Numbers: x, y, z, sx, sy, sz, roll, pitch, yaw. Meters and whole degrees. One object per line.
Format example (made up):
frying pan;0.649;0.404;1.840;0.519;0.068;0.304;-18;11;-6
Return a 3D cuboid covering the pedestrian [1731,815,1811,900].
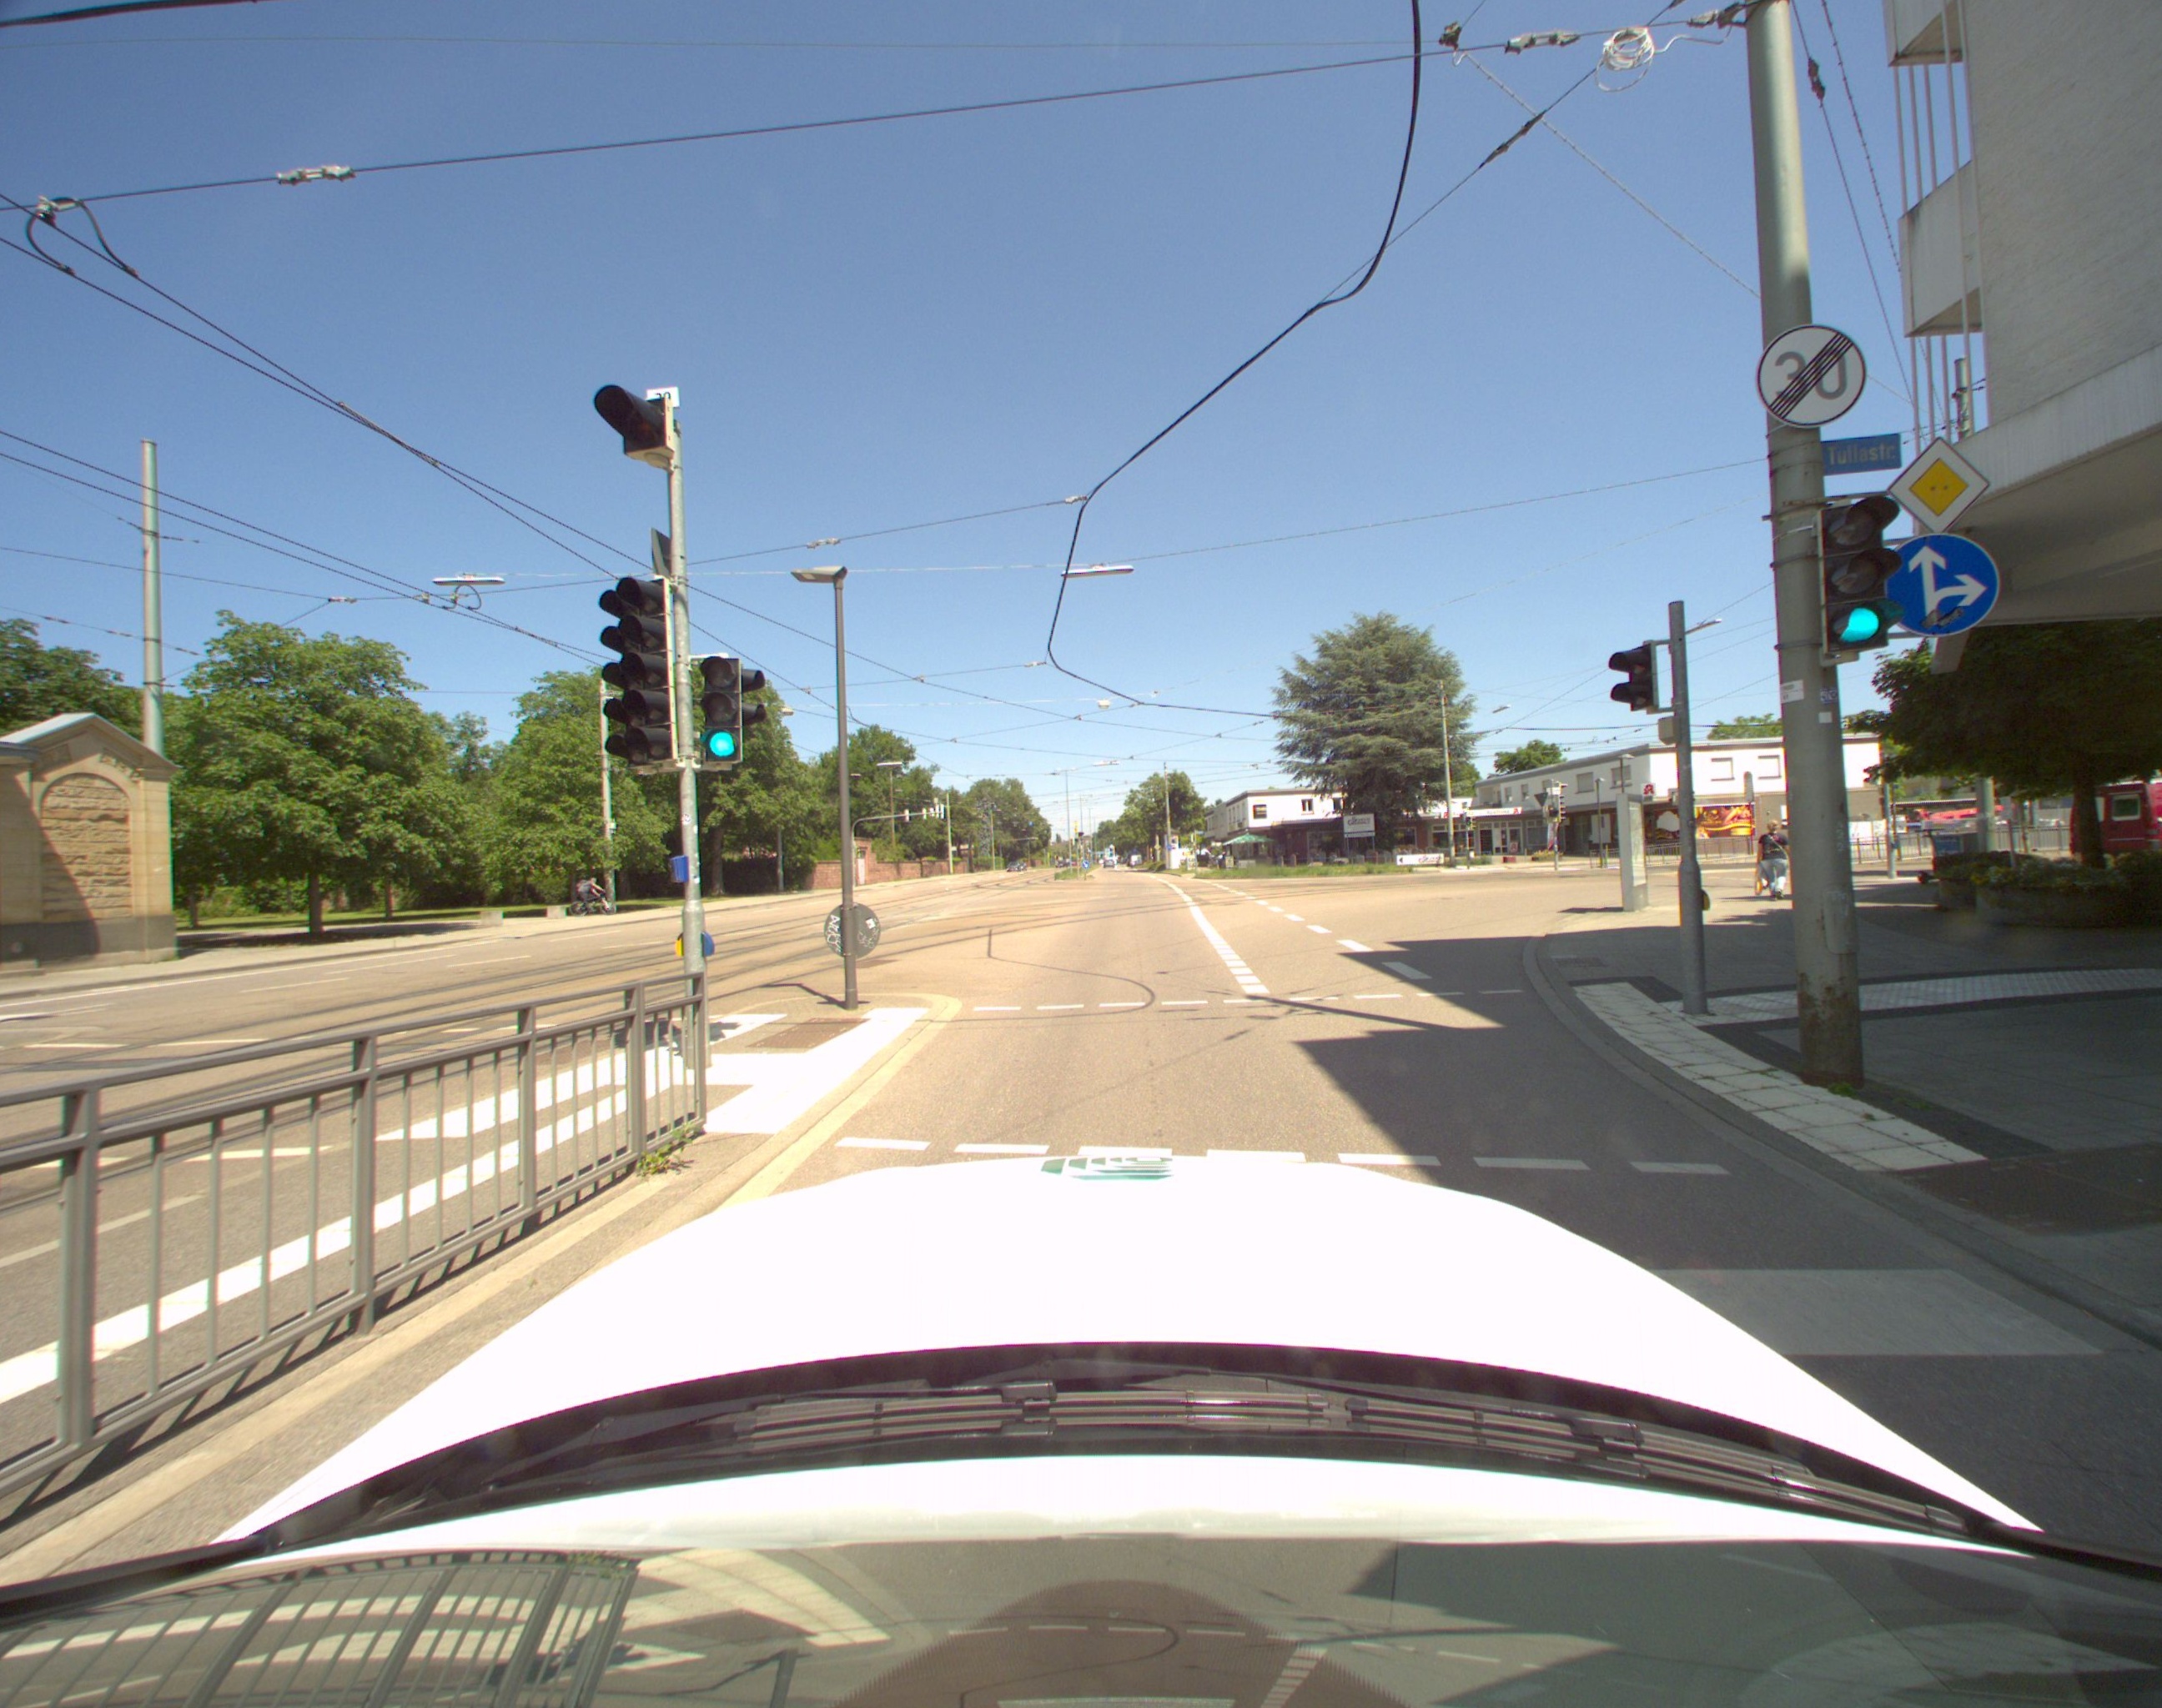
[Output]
pedestrian;13.678;0.071;16.181;0.820;1.583;0.830;-6;-1;17

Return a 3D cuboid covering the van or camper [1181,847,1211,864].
van or camper;19.679;0.290;139.323;4.740;2.671;2.136;-2;-1;0

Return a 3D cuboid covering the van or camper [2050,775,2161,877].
van or camper;31.575;-0.866;23.182;5.205;2.765;2.208;-3;0;1

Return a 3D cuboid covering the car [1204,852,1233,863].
car;18.603;0.518;110.559;3.600;1.351;1.488;-2;-1;-4

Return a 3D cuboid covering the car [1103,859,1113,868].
car;4.475;1.609;135.217;1.631;1.351;3.841;-2;0;0

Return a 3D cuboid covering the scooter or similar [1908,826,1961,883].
scooter or similar;19.124;0.012;18.239;1.257;1.213;0.391;-2;-1;-25

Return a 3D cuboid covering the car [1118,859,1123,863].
car;12.759;2.176;262.140;1.519;1.296;3.492;-2;0;0

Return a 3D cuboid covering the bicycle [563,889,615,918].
bicycle;-20.563;2.062;34.104;0.711;1.041;2.106;-3;-1;5

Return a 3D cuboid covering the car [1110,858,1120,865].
car;7.501;1.736;179.428;1.667;1.435;3.470;-2;-1;-3

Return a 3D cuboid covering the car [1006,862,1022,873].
car;-10.738;2.205;130.742;1.812;1.603;4.524;-3;-1;4

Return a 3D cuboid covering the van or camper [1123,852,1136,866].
van or camper;8.888;0.925;149.161;1.987;2.464;3.999;-2;-1;0

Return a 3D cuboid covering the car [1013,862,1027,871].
car;-10.442;2.175;139.929;1.633;1.421;4.173;-2;0;5

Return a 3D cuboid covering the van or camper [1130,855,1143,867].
van or camper;8.666;1.096;126.942;1.914;1.772;4.003;-2;-1;3

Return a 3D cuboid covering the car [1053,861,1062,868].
car;-4.979;2.236;175.087;1.635;1.399;4.117;-2;0;2

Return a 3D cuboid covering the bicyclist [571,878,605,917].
bicyclist;-20.573;1.805;33.994;0.846;1.531;0.846;-3;-1;5

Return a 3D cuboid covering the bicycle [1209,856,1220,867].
bicycle;13.327;0.726;81.101;1.027;1.014;2.644;-3;0;10
